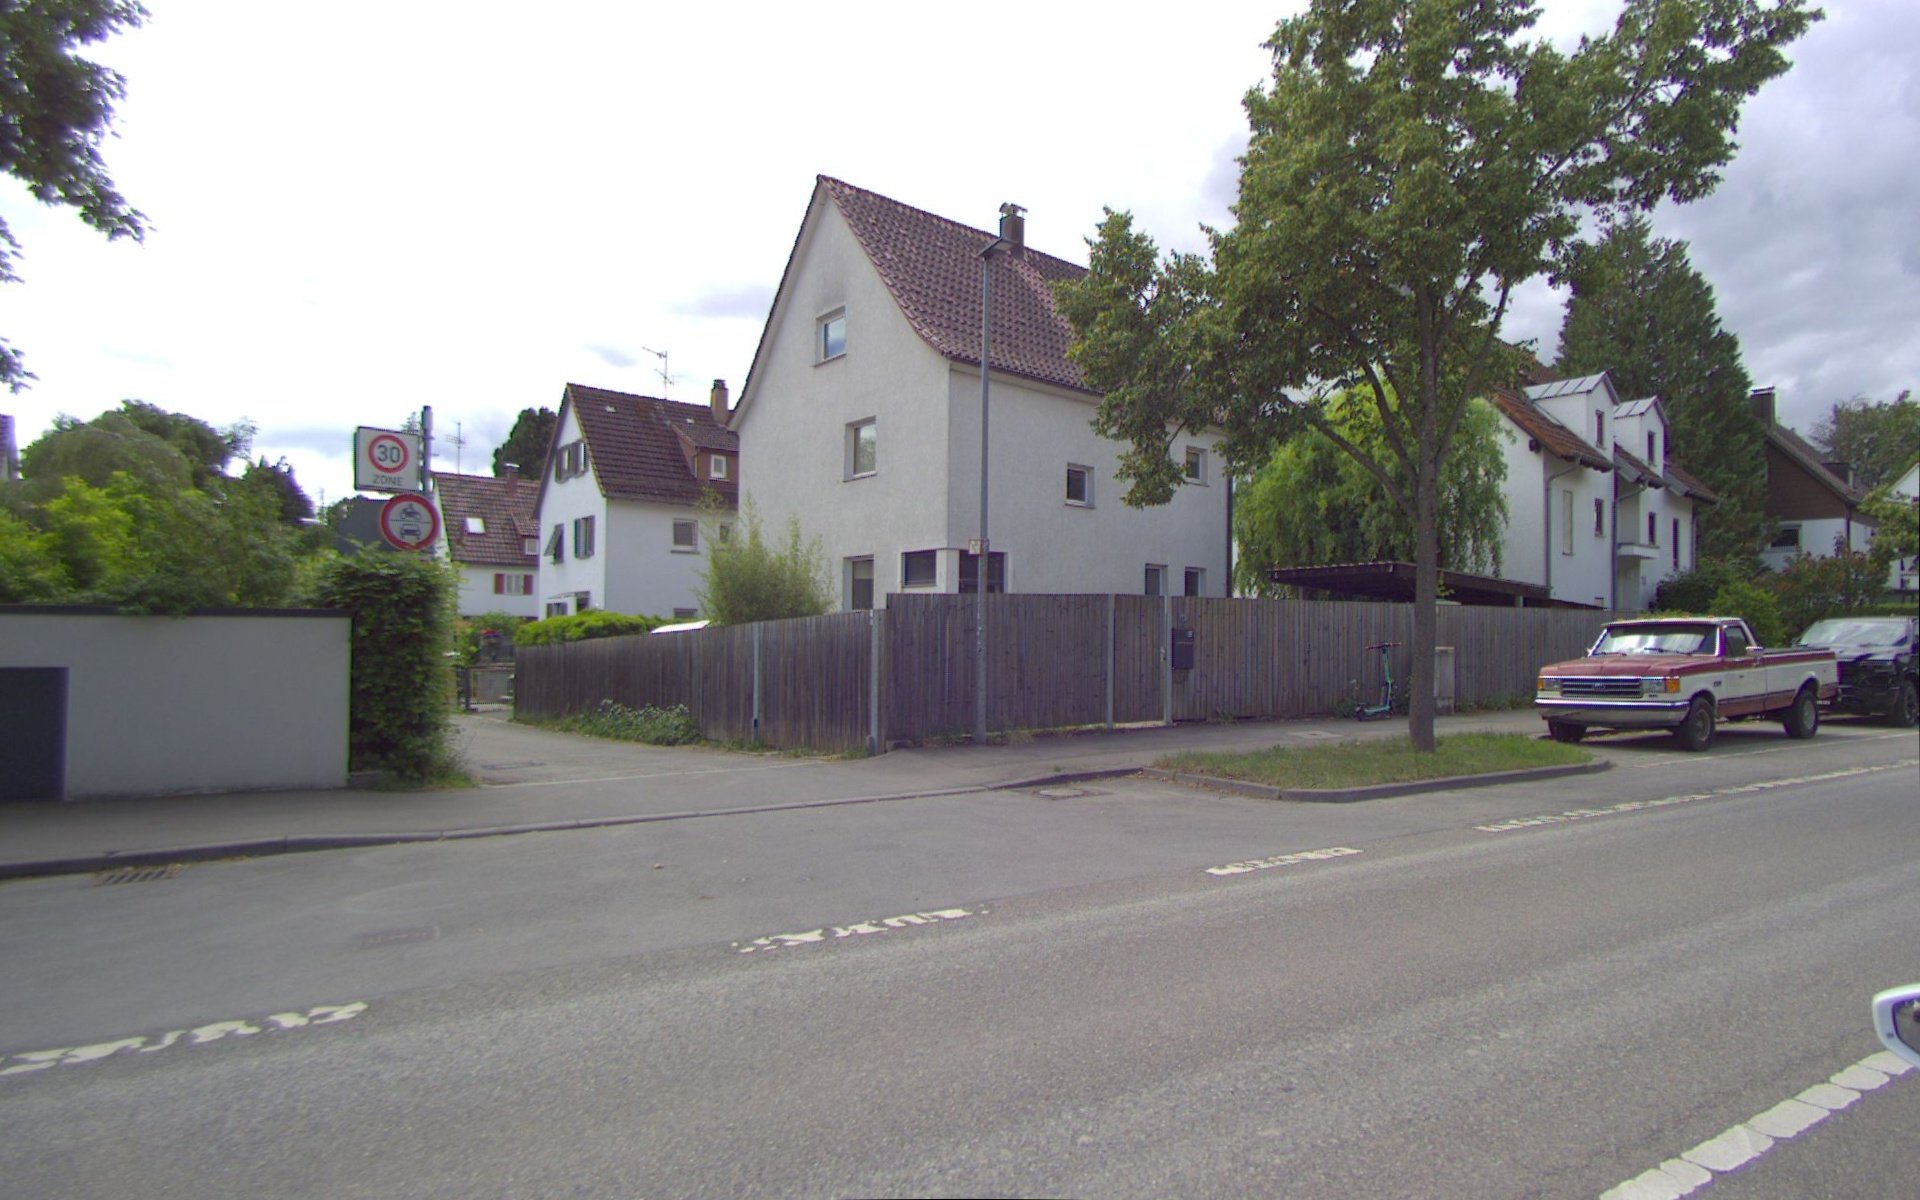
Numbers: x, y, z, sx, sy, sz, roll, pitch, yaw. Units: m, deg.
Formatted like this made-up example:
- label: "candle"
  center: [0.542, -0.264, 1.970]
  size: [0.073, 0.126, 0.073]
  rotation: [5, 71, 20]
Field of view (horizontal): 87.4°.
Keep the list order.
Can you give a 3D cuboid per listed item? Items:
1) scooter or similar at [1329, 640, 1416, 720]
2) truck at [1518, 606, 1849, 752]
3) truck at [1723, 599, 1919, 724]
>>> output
- label: "scooter or similar"
  center: [6.711, 1.284, 16.343]
  size: [1.290, 1.228, 0.632]
  rotation: [2, 0, -31]
- label: "truck"
  center: [11.128, 1.134, 15.335]
  size: [5.598, 1.892, 1.958]
  rotation: [1, -4, -30]
- label: "truck"
  center: [17.444, 1.105, 19.306]
  size: [5.926, 2.070, 2.411]
  rotation: [1, -2, -31]
